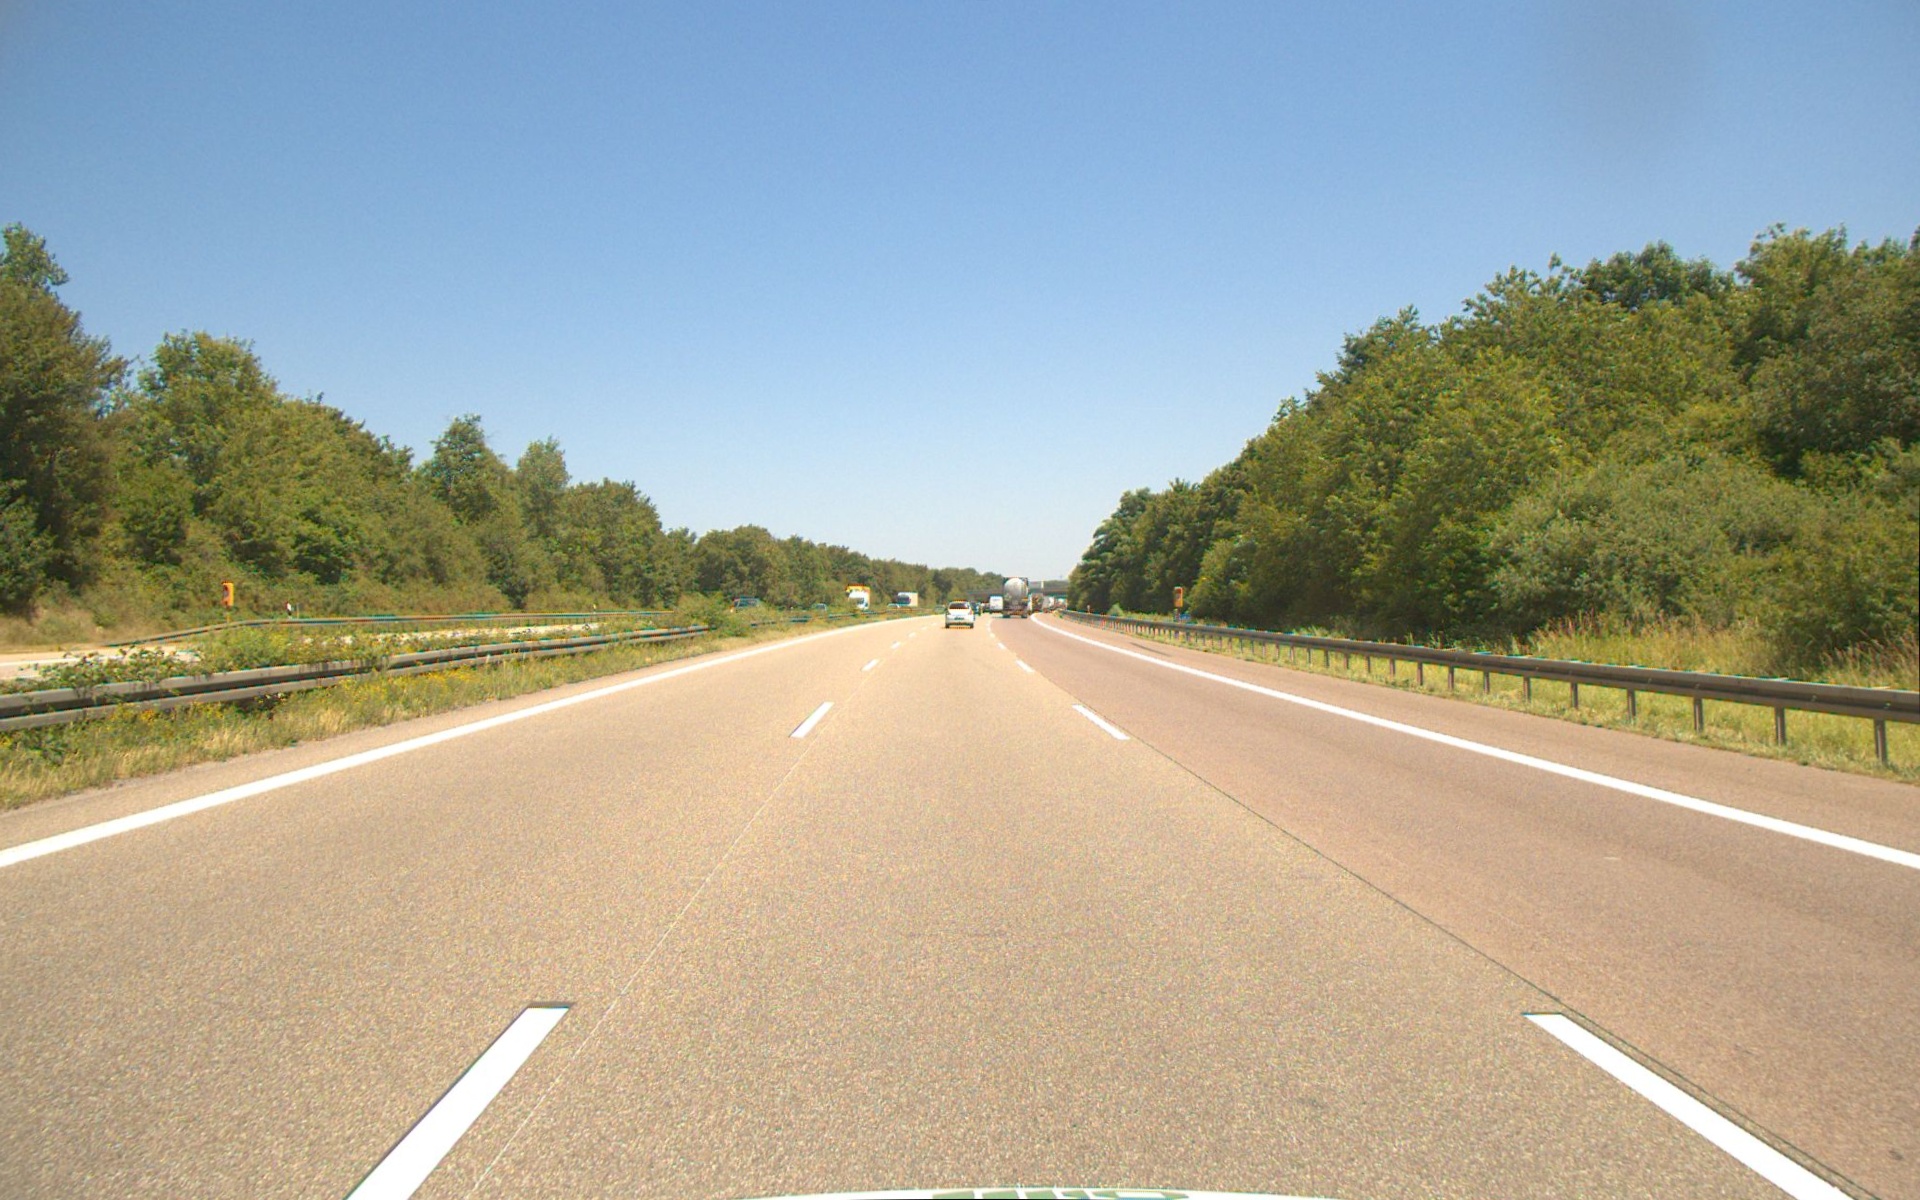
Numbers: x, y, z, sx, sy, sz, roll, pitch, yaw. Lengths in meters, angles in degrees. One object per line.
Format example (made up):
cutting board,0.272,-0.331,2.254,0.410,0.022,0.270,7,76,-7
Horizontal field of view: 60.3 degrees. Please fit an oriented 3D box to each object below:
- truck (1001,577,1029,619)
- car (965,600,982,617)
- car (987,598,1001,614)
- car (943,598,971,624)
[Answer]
truck,5.665,-0.179,168.356,2.682,4.123,10.457,0,0,3
car,1.611,1.049,201.063,1.952,2.049,4.001,-1,0,2
car,4.998,0.888,243.381,1.952,2.384,4.388,0,0,2
car,-0.174,0.635,97.758,1.594,1.505,3.999,0,0,-1
